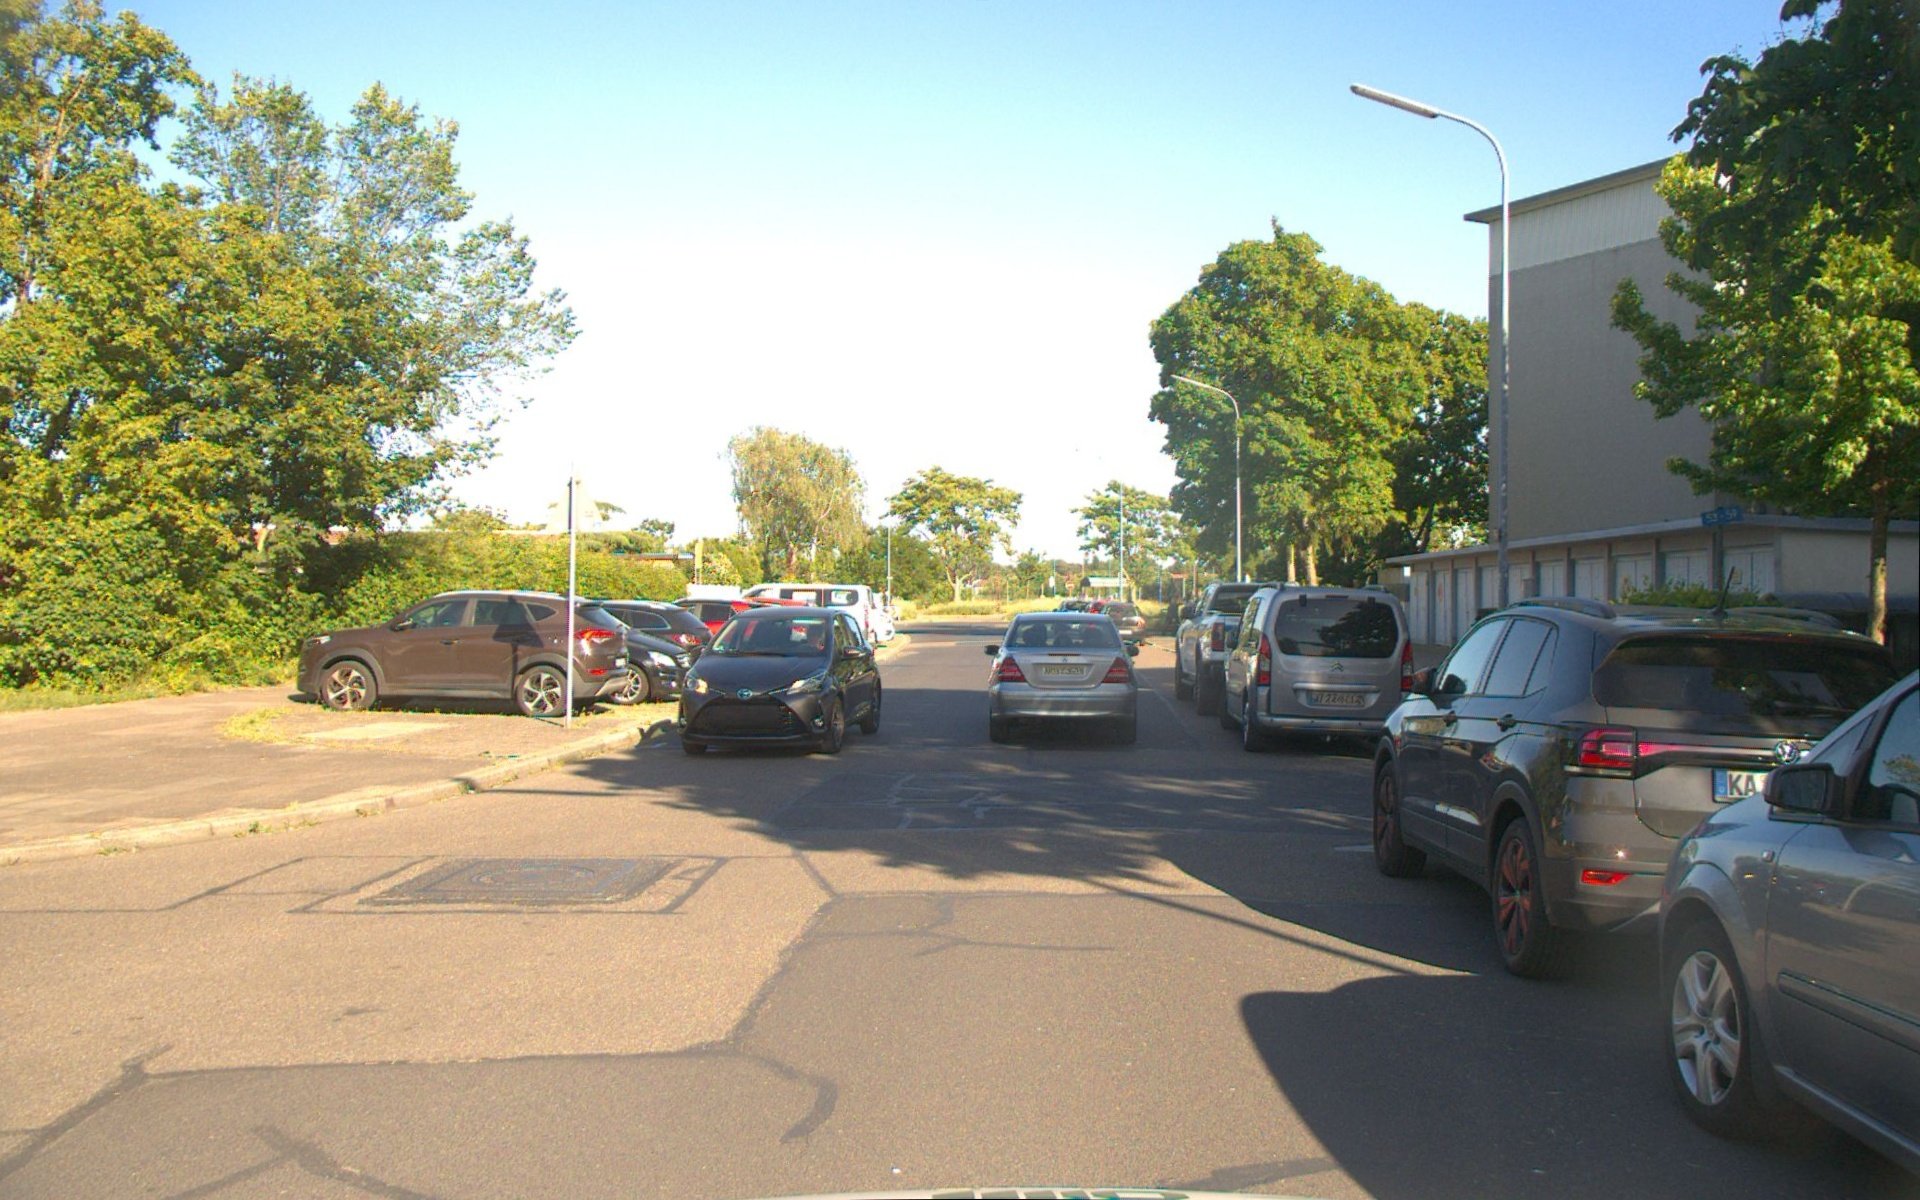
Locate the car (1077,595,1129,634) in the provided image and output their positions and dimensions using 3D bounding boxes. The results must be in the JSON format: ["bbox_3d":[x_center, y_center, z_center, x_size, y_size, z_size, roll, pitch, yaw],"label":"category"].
[{"bbox_3d":[5.679,0.581,65.975,1.544,1.472,3.786,1,-1,-3],"label":"car"}]

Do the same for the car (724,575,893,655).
[{"bbox_3d":[-4.147,0.408,45.926,4.386,2.011,2.000,2,-1,2],"label":"car"}]

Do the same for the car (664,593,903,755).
[{"bbox_3d":[-1.842,0.761,18.467,1.614,1.583,4.005,-1,-1,9],"label":"car"}]

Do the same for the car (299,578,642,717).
[{"bbox_3d":[-6.634,0.630,22.736,4.101,1.685,1.847,2,-1,1],"label":"car"}]

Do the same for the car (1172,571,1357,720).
[{"bbox_3d":[4.283,0.552,24.089,1.867,1.872,5.276,2,1,2],"label":"car"}]

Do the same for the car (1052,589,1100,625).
[{"bbox_3d":[5.297,0.324,75.678,1.697,1.570,3.786,1,-1,-3],"label":"car"}]

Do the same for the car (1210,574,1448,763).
[{"bbox_3d":[4.042,0.651,18.878,1.795,1.822,4.556,2,1,2],"label":"car"}]

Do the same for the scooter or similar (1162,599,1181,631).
[{"bbox_3d":[8.474,0.595,66.263,0.610,1.249,0.905,-1,-1,-2],"label":"scooter or similar"}]

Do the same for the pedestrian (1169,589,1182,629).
[{"bbox_3d":[8.784,0.379,67.454,0.471,1.592,0.597,-2,-1,9],"label":"pedestrian"}]

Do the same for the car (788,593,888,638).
[{"bbox_3d":[-4.402,0.560,59.903,3.441,1.471,1.637,2,-1,1],"label":"car"}]

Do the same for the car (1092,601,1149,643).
[{"bbox_3d":[5.615,0.764,58.255,1.613,1.427,3.881,-1,-1,0],"label":"car"}]

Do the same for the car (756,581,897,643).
[{"bbox_3d":[-4.619,0.426,57.624,4.691,1.954,2.081,2,-1,-1],"label":"car"}]

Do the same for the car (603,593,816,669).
[{"bbox_3d":[-5.617,0.674,37.407,4.449,1.505,1.748,2,1,3],"label":"car"}]

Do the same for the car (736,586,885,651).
[{"bbox_3d":[-4.343,0.540,48.446,4.065,1.736,1.884,2,-1,2],"label":"car"}]

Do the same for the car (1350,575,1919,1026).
[{"bbox_3d":[3.220,0.748,8.134,1.767,1.621,4.025,2,0,2],"label":"car"}]

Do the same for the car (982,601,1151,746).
[{"bbox_3d":[1.228,0.784,19.859,1.778,1.489,4.362,1,0,2],"label":"car"}]

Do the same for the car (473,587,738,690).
[{"bbox_3d":[-5.899,0.641,27.854,4.008,1.539,1.812,2,-1,1],"label":"car"}]

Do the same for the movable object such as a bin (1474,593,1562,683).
[{"bbox_3d":[8.742,0.590,25.974,1.223,1.371,1.053,0,-1,14],"label":"movable object such as a bin"}]

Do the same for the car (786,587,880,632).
[{"bbox_3d":[-5.372,0.406,70.225,3.899,1.811,1.924,1,0,-5],"label":"car"}]

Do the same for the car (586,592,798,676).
[{"bbox_3d":[-5.359,0.664,33.395,3.904,1.505,1.791,2,1,3],"label":"car"}]

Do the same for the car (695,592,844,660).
[{"bbox_3d":[-4.885,0.658,42.838,3.527,1.594,1.853,2,1,3],"label":"car"}]

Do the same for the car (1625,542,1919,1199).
[{"bbox_3d":[3.067,0.709,3.379,1.731,1.638,4.373,2,-1,2],"label":"car"}]

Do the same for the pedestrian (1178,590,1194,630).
[{"bbox_3d":[9.057,0.406,66.300,0.476,1.592,0.468,-1,-1,-5],"label":"pedestrian"}]

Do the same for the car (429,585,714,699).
[{"bbox_3d":[-5.951,0.635,25.653,3.905,1.559,1.832,2,-1,1],"label":"car"}]

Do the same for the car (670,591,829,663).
[{"bbox_3d":[-5.099,0.640,40.340,3.527,1.594,1.882,2,1,3],"label":"car"}]

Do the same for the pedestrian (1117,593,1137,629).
[{"bbox_3d":[7.396,0.483,73.279,0.771,1.592,0.569,2,-1,-2],"label":"pedestrian"}]
